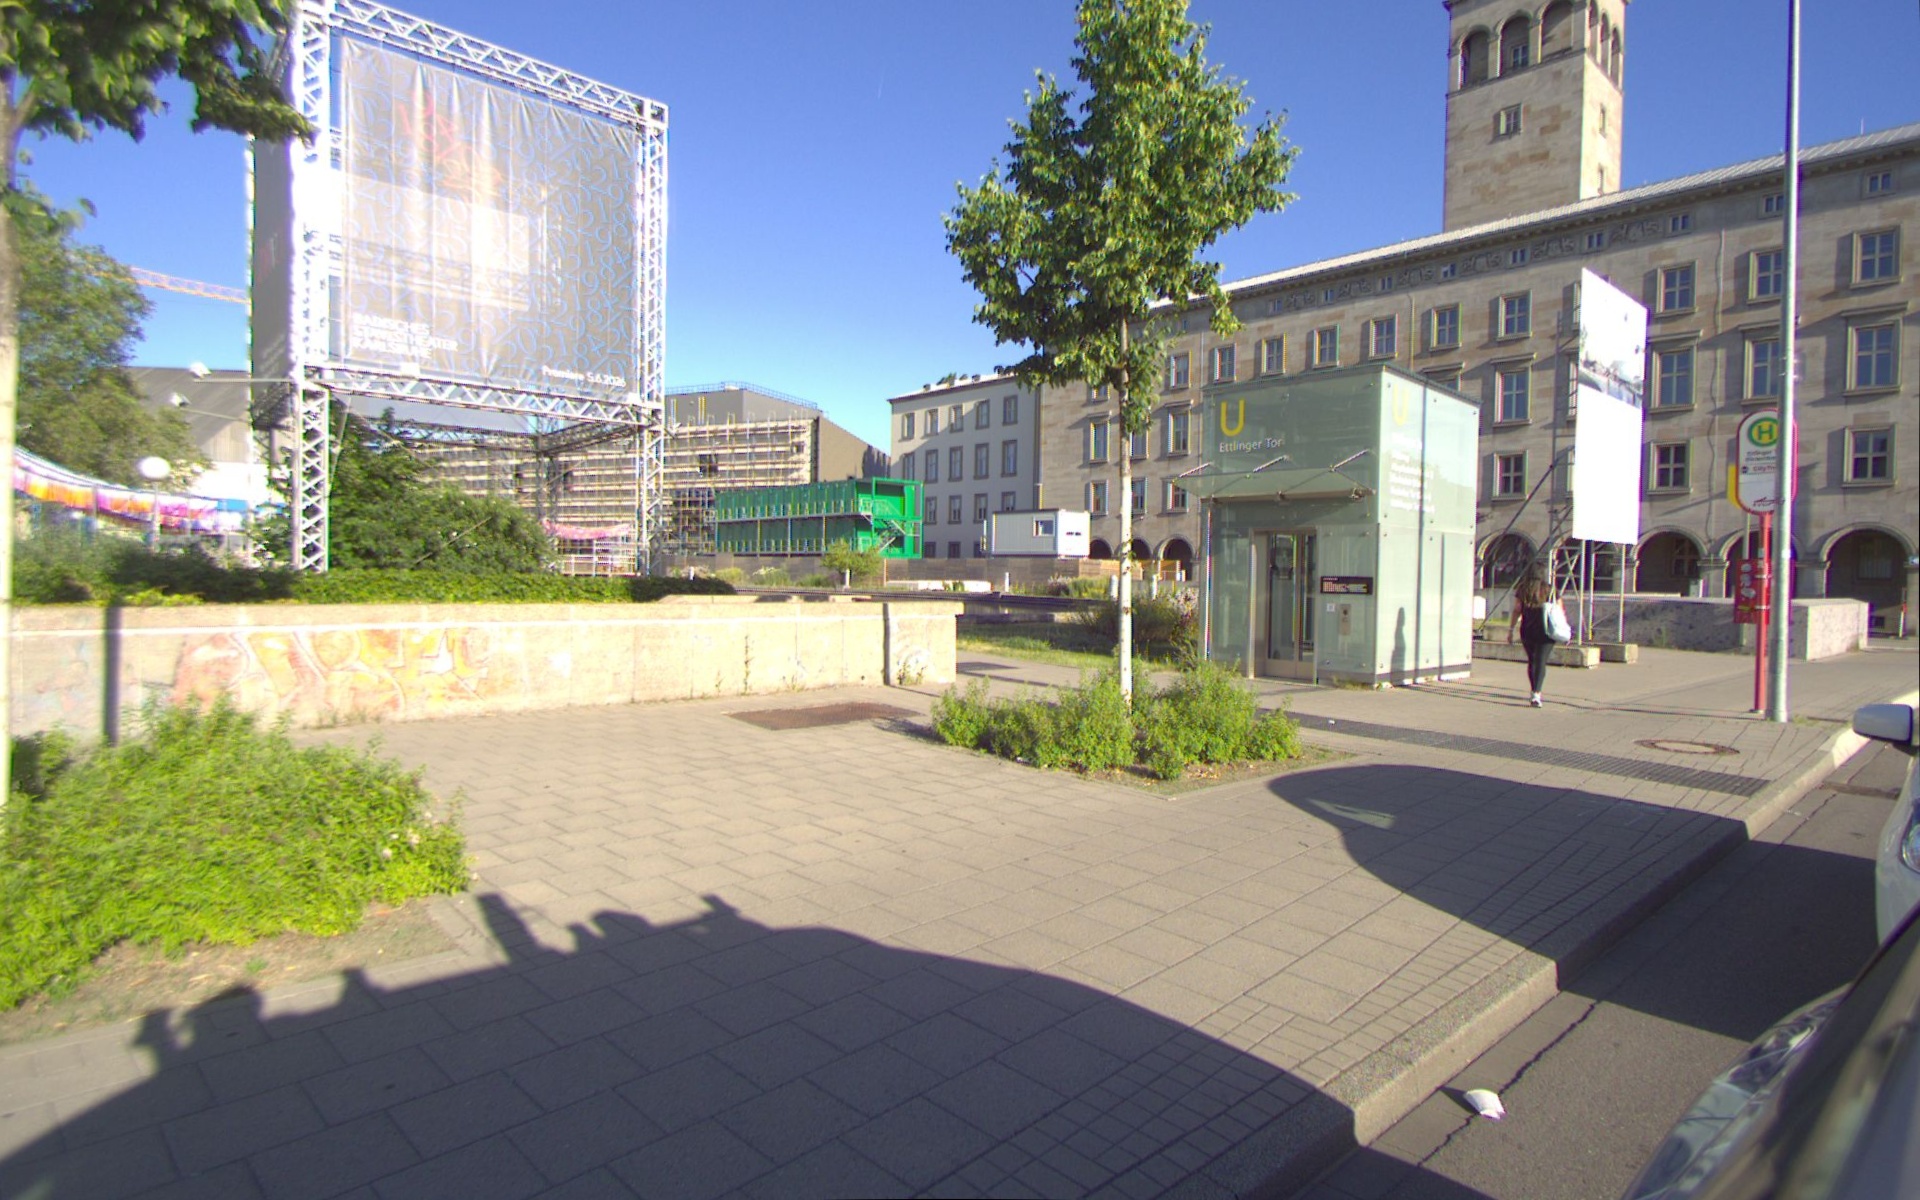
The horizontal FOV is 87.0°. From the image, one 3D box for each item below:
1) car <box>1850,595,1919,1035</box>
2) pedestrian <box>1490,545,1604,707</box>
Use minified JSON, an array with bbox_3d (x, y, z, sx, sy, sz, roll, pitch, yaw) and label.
[{"bbox_3d":[5.088,0.716,4.069,3.819,1.467,1.678,0,0,-39],"label":"car"},{"bbox_3d":[7.079,0.281,12.197,0.938,1.808,1.057,5,3,39],"label":"pedestrian"}]
